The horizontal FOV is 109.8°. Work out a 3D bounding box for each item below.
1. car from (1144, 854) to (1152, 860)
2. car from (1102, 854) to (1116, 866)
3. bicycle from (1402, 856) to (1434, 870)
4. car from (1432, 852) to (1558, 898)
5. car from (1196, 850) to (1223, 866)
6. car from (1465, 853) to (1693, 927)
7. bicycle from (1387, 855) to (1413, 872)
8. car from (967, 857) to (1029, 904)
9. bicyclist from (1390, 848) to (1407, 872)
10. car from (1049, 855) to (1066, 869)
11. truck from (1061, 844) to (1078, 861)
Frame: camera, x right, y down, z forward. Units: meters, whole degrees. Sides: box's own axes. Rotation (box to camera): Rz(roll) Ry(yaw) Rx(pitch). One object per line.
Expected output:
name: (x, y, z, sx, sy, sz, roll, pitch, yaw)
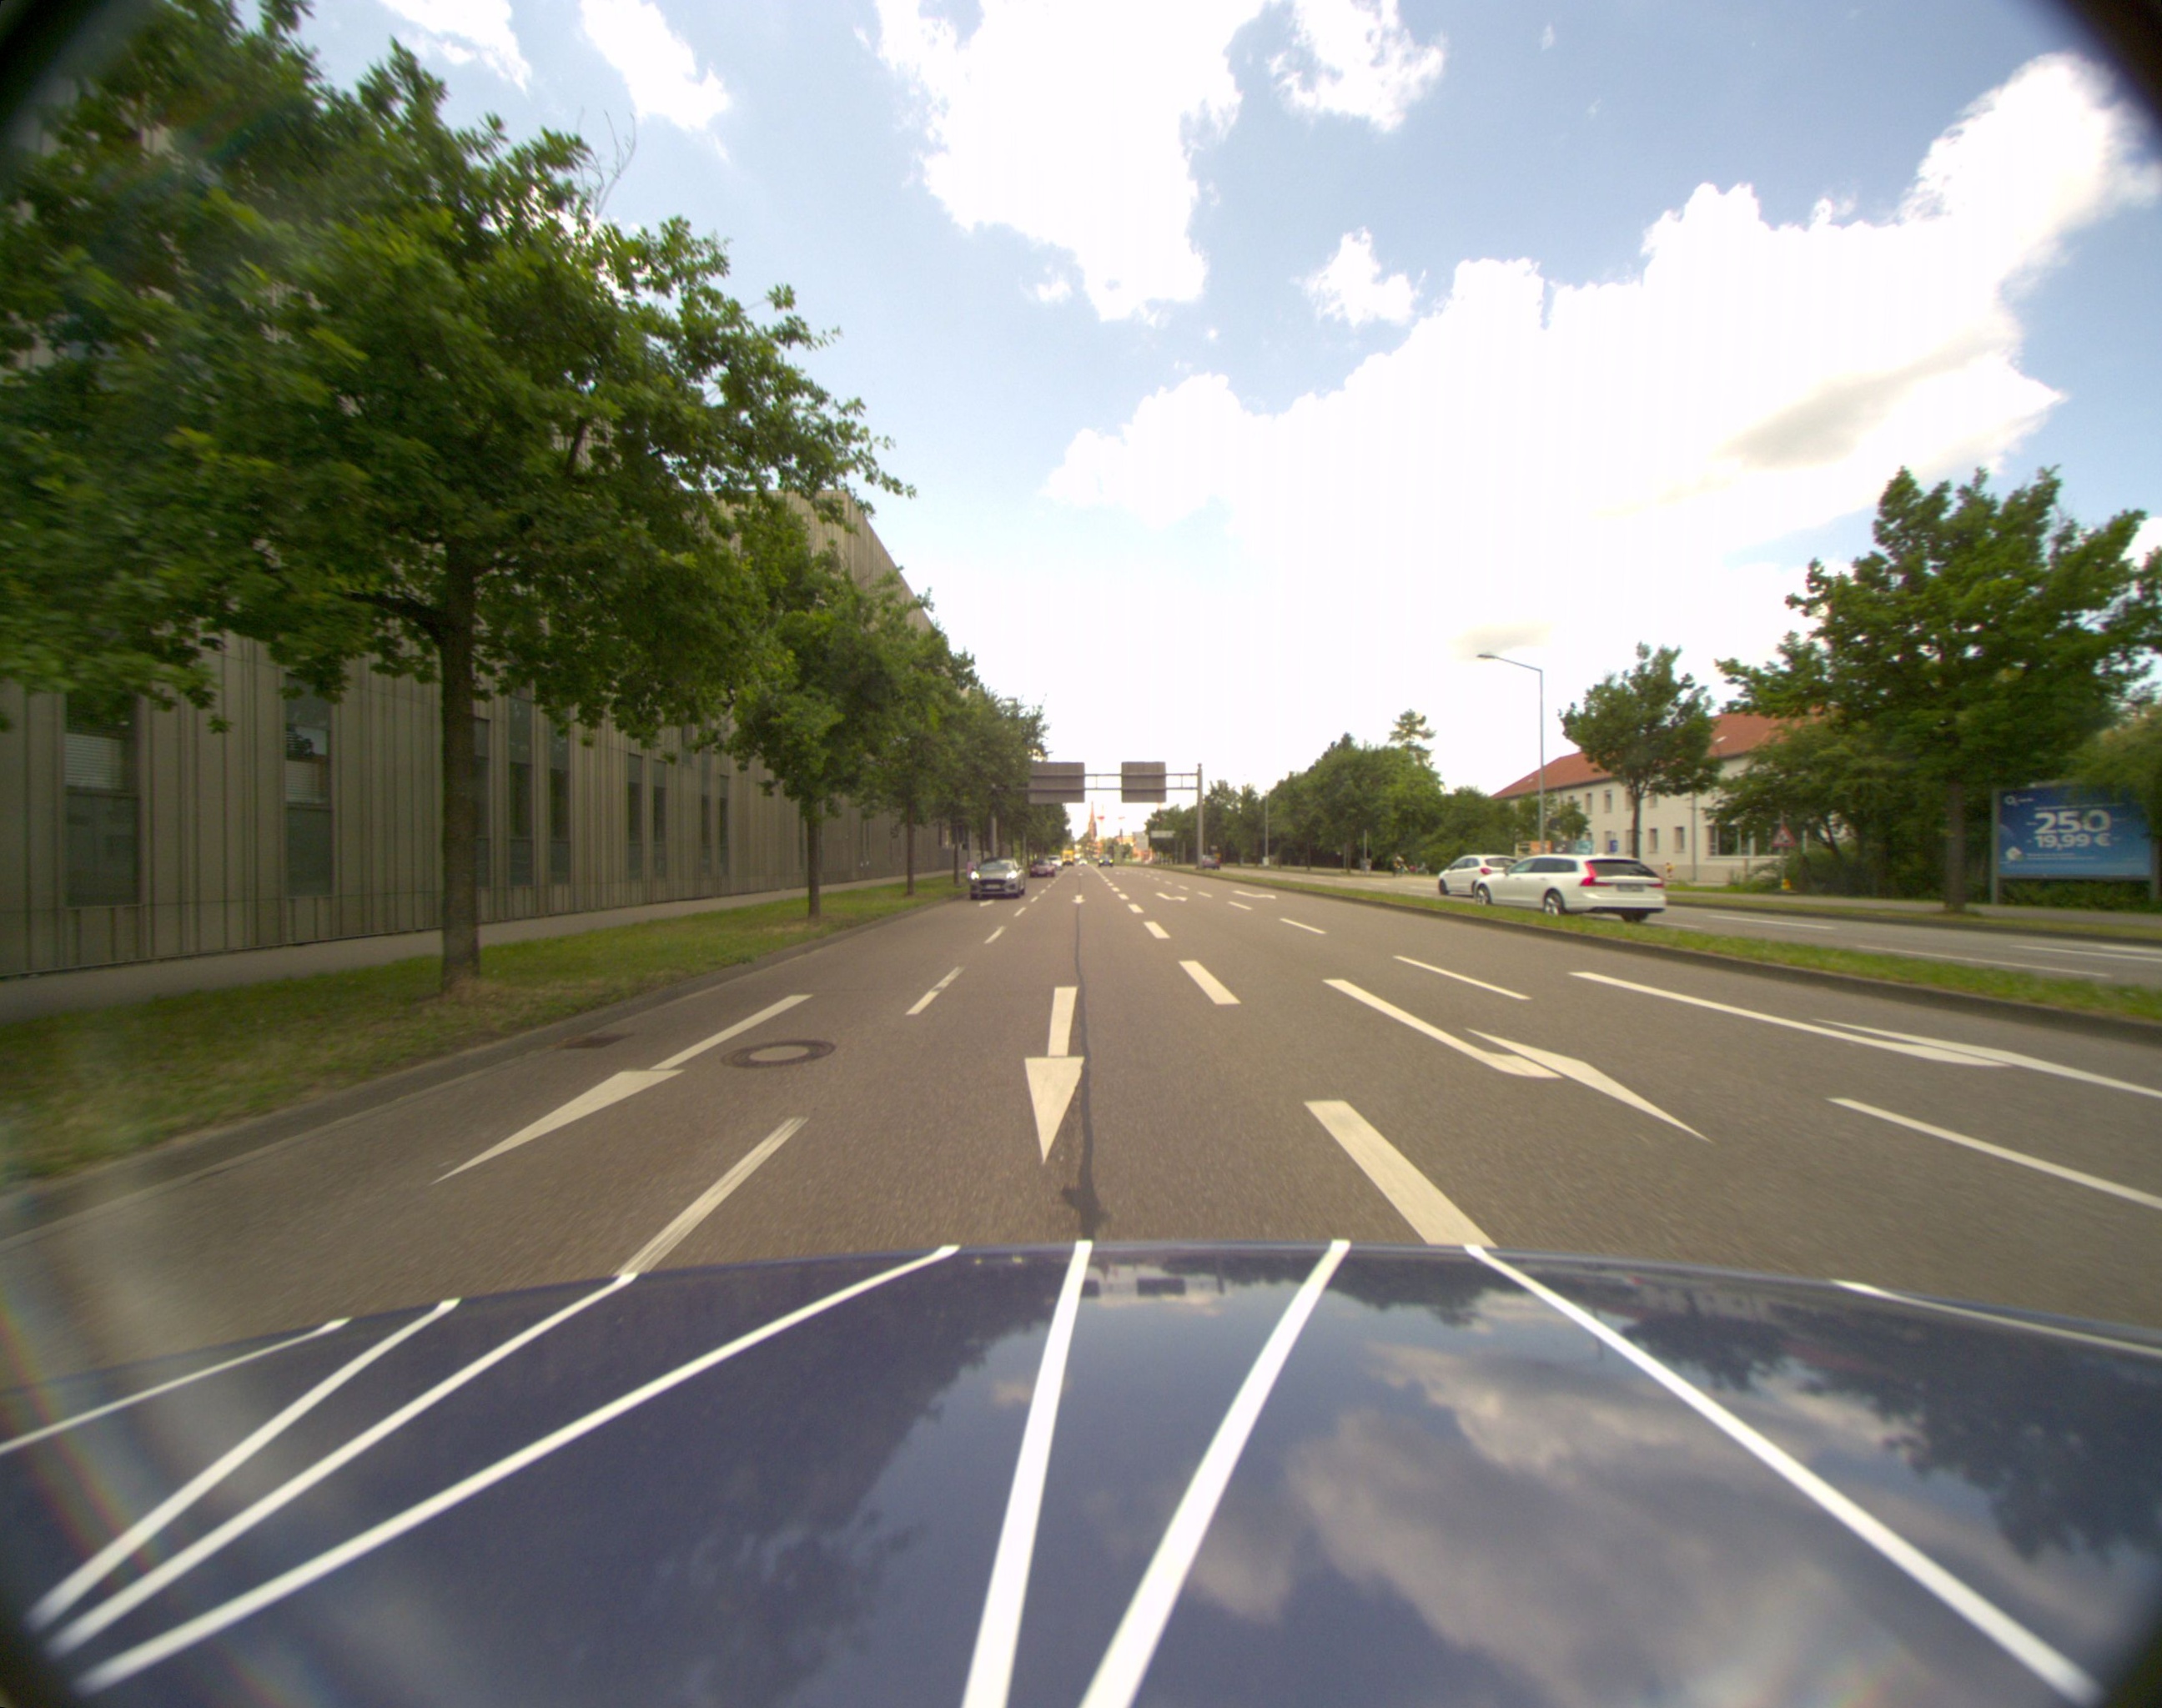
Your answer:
car: (17.196, 0.727, 195.187, 1.713, 1.487, 3.697, 0, 0, 1)
car: (3.588, 0.790, 97.693, 1.782, 1.487, 3.598, 0, 0, 0)
bicycle: (26.110, 0.688, 58.940, 0.665, 1.009, 2.143, -1, 1, -45)
car: (14.309, 0.665, 26.588, 1.919, 1.434, 4.414, 1, 0, -1)
car: (13.022, 0.393, 77.311, 1.964, 1.508, 4.909, 0, 0, 0)
car: (11.059, 0.703, 17.441, 1.998, 1.423, 5.024, 0, 0, 1)
bicycle: (22.617, 0.673, 53.957, 0.752, 1.155, 2.257, 0, 0, -4)
car: (-3.054, 0.927, 28.644, 1.823, 1.565, 3.954, -2, 0, 0)
bicyclist: (22.609, 0.421, 54.148, 0.740, 1.648, 0.980, 0, 1, -4)
car: (-2.536, 0.869, 83.497, 1.713, 1.487, 3.650, 0, 0, 0)
truck: (-2.152, -0.308, 145.467, 3.066, 3.095, 7.934, 0, 0, 0)
